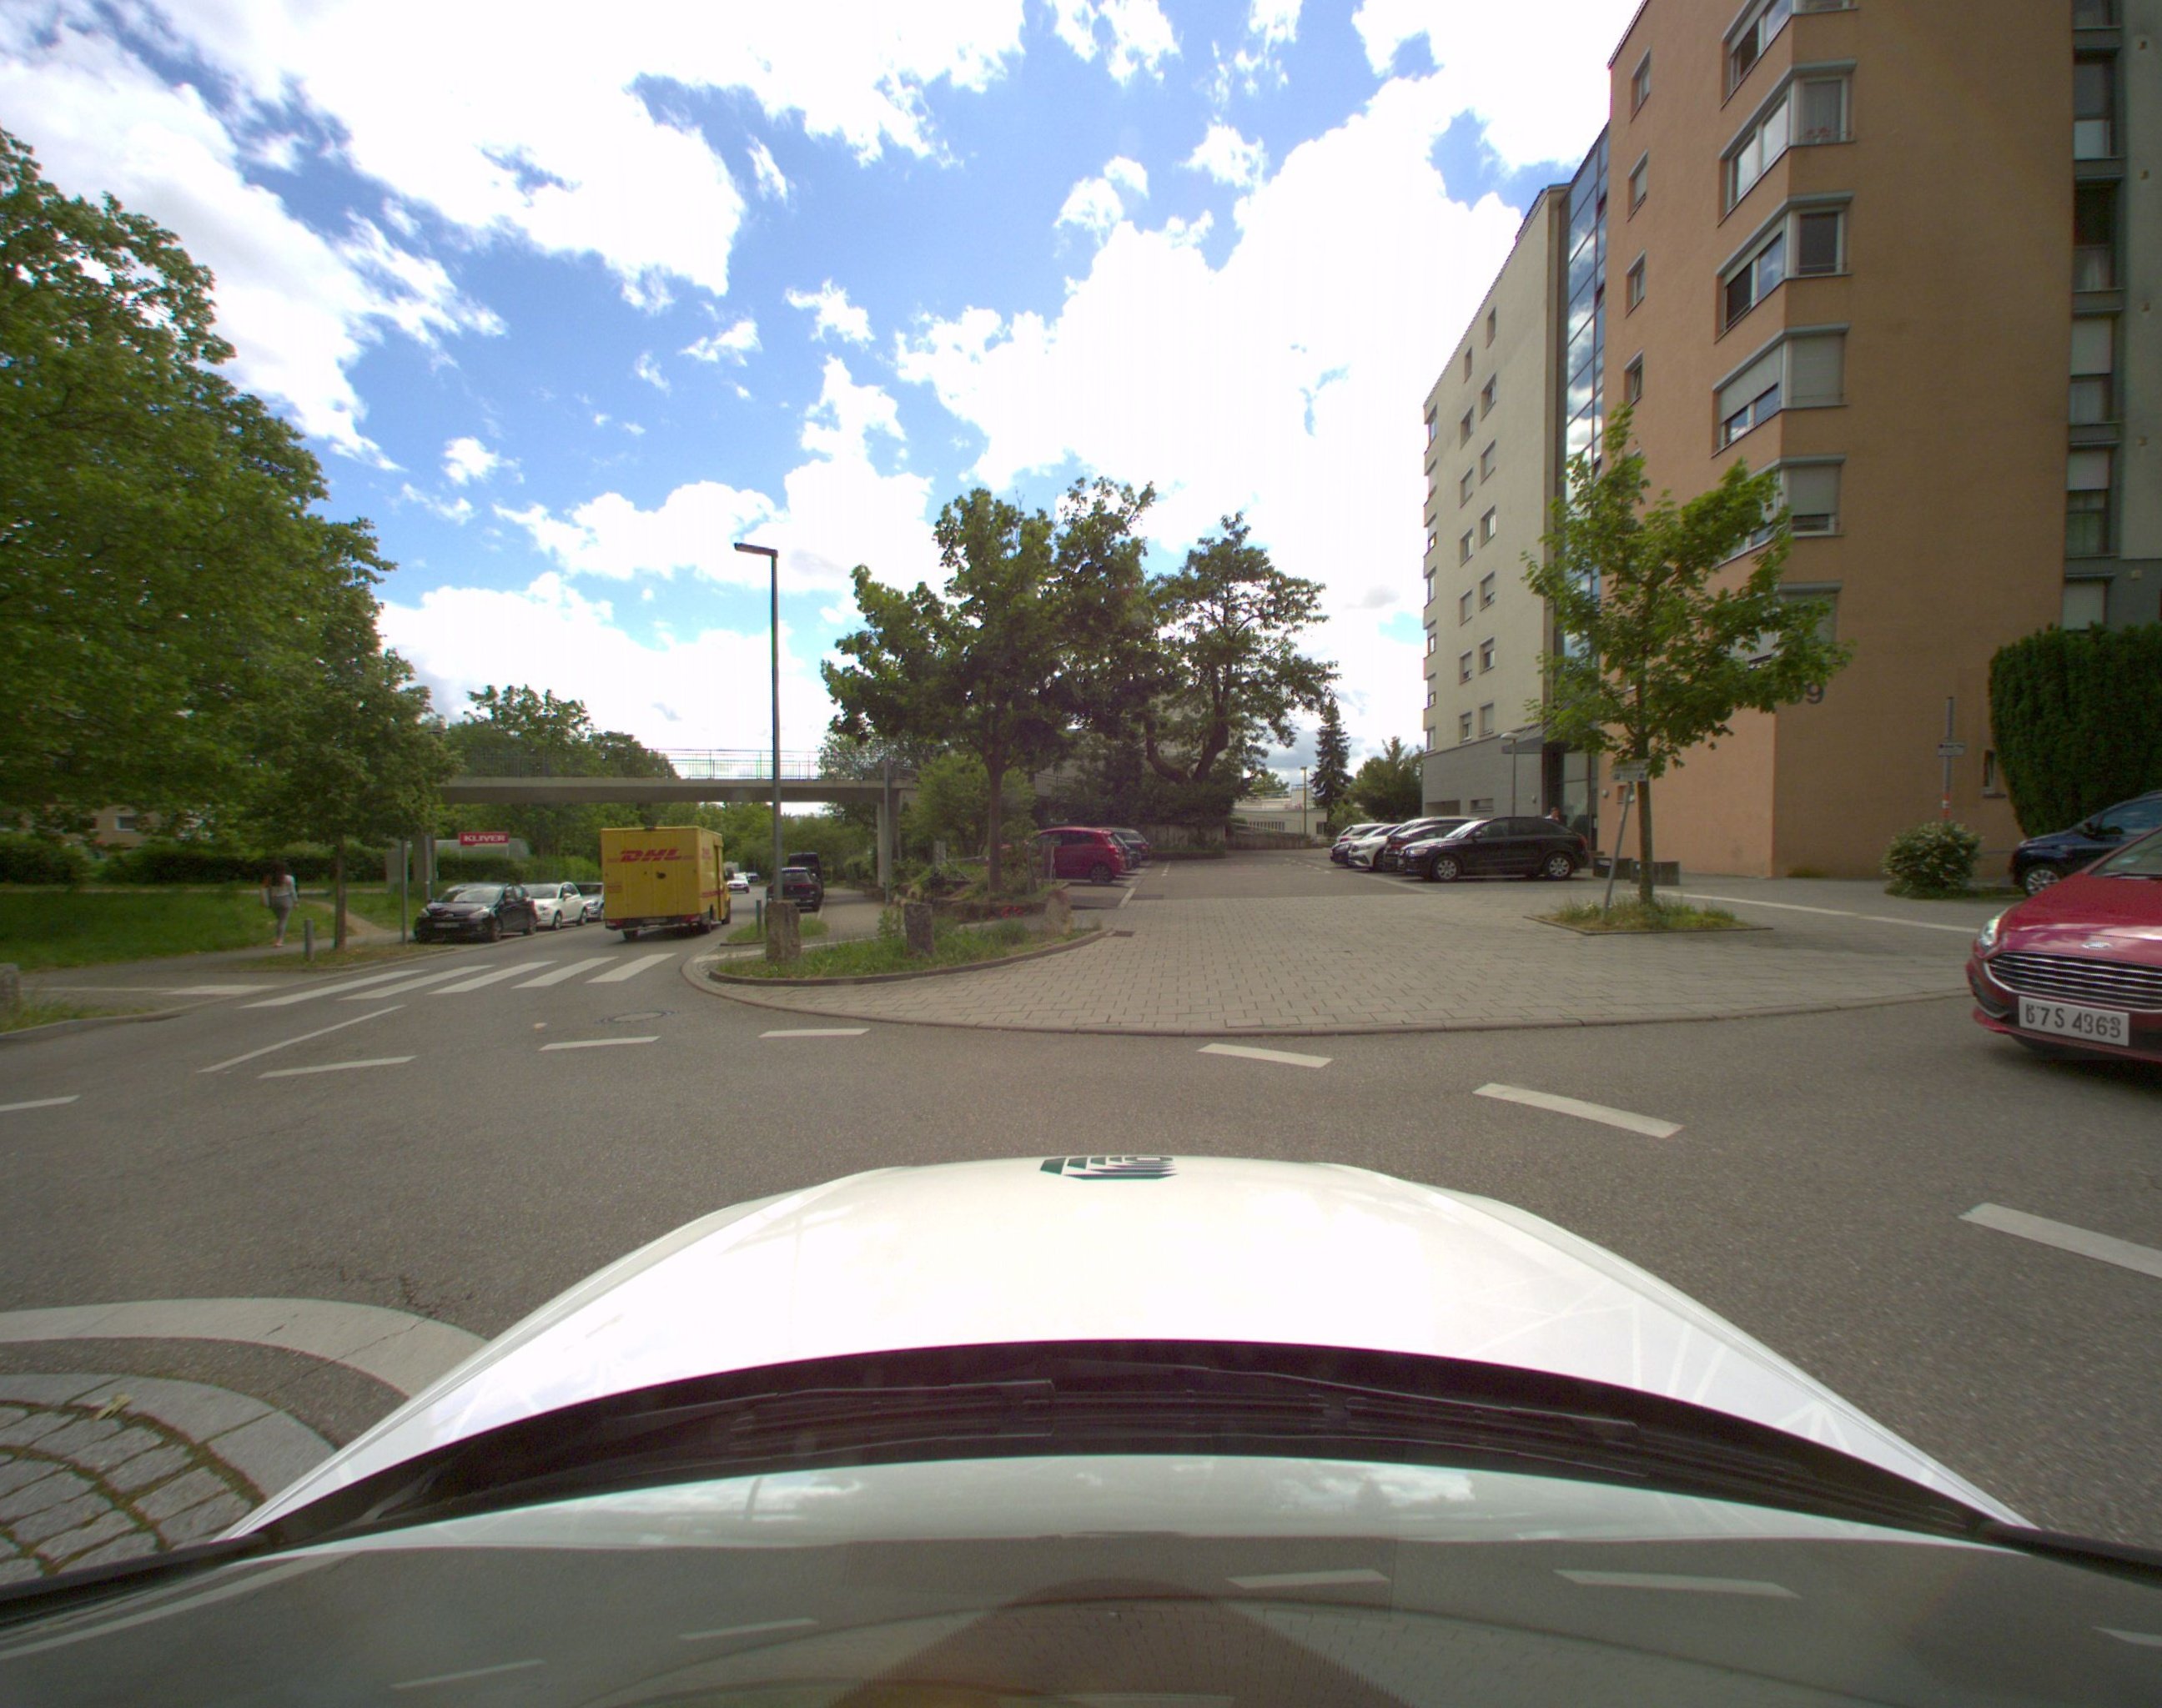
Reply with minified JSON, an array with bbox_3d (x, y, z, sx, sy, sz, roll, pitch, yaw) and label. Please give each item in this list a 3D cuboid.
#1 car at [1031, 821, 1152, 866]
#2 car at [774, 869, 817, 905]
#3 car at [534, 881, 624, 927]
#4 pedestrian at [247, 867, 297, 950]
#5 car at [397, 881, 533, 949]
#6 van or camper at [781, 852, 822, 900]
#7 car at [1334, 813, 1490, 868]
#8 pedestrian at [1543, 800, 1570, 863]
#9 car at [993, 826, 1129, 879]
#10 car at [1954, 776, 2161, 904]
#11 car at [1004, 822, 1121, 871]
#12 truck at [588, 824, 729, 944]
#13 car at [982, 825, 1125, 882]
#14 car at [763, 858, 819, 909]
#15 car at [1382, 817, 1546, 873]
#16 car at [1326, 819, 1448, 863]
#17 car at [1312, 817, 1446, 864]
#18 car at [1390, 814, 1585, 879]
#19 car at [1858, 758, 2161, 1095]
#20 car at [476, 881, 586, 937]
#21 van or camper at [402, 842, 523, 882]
[{"bbox_3d":[0.429,-0.402,31.709,4.527,1.668,1.945,-1,0,1],"label":"car"},{"bbox_3d":[-12.964,1.482,37.174,1.704,1.496,4.092,-2,-1,-18],"label":"car"},{"bbox_3d":[-18.689,1.829,30.511,1.889,1.427,3.977,-1,0,-17],"label":"car"},{"bbox_3d":[-17.433,1.148,17.565,0.743,1.722,0.652,-1,0,-44],"label":"pedestrian"},{"bbox_3d":[-16.004,1.501,21.402,1.792,1.468,3.972,0,0,-21],"label":"car"},{"bbox_3d":[-16.356,1.316,47.816,1.999,2.523,5.436,-4,-1,-18],"label":"van or camper"},{"bbox_3d":[10.091,-0.410,25.038,4.103,1.594,1.693,-1,0,2],"label":"car"},{"bbox_3d":[14.148,-0.671,24.256,0.477,1.853,0.506,-1,0,-4],"label":"pedestrian"},{"bbox_3d":[-0.519,-0.034,23.570,3.770,1.422,1.686,-1,0,4],"label":"car"},{"bbox_3d":[13.595,-0.214,10.185,1.495,1.476,3.527,-6,0,1],"label":"car"},{"bbox_3d":[-0.588,-0.256,28.656,3.972,1.613,1.945,-1,0,1],"label":"car"},{"bbox_3d":[-11.121,0.734,22.045,2.475,2.702,6.777,-1,-1,-20],"label":"truck"},{"bbox_3d":[-0.664,-0.013,21.746,3.633,1.439,1.686,-1,0,4],"label":"car"},{"bbox_3d":[-10.956,1.158,30.827,1.819,1.678,4.340,-2,-4,-19],"label":"car"},{"bbox_3d":[10.584,-0.230,22.743,3.805,1.459,1.697,-1,0,9],"label":"car"},{"bbox_3d":[11.201,-0.470,30.040,3.957,1.517,1.761,-1,0,9],"label":"car"},{"bbox_3d":[10.046,-0.441,27.682,4.017,1.517,1.760,-1,0,9],"label":"car"},{"bbox_3d":[10.027,-0.175,20.356,4.017,1.517,1.760,-1,0,9],"label":"car"},{"bbox_3d":[7.467,0.219,4.537,4.512,1.644,1.978,-4,0,-4],"label":"car"},{"bbox_3d":[-17.099,1.662,25.517,1.889,1.460,3.526,-1,0,-17],"label":"car"},{"bbox_3d":[-33.525,0.406,44.314,4.875,2.086,1.985,-1,0,-24],"label":"van or camper"}]
